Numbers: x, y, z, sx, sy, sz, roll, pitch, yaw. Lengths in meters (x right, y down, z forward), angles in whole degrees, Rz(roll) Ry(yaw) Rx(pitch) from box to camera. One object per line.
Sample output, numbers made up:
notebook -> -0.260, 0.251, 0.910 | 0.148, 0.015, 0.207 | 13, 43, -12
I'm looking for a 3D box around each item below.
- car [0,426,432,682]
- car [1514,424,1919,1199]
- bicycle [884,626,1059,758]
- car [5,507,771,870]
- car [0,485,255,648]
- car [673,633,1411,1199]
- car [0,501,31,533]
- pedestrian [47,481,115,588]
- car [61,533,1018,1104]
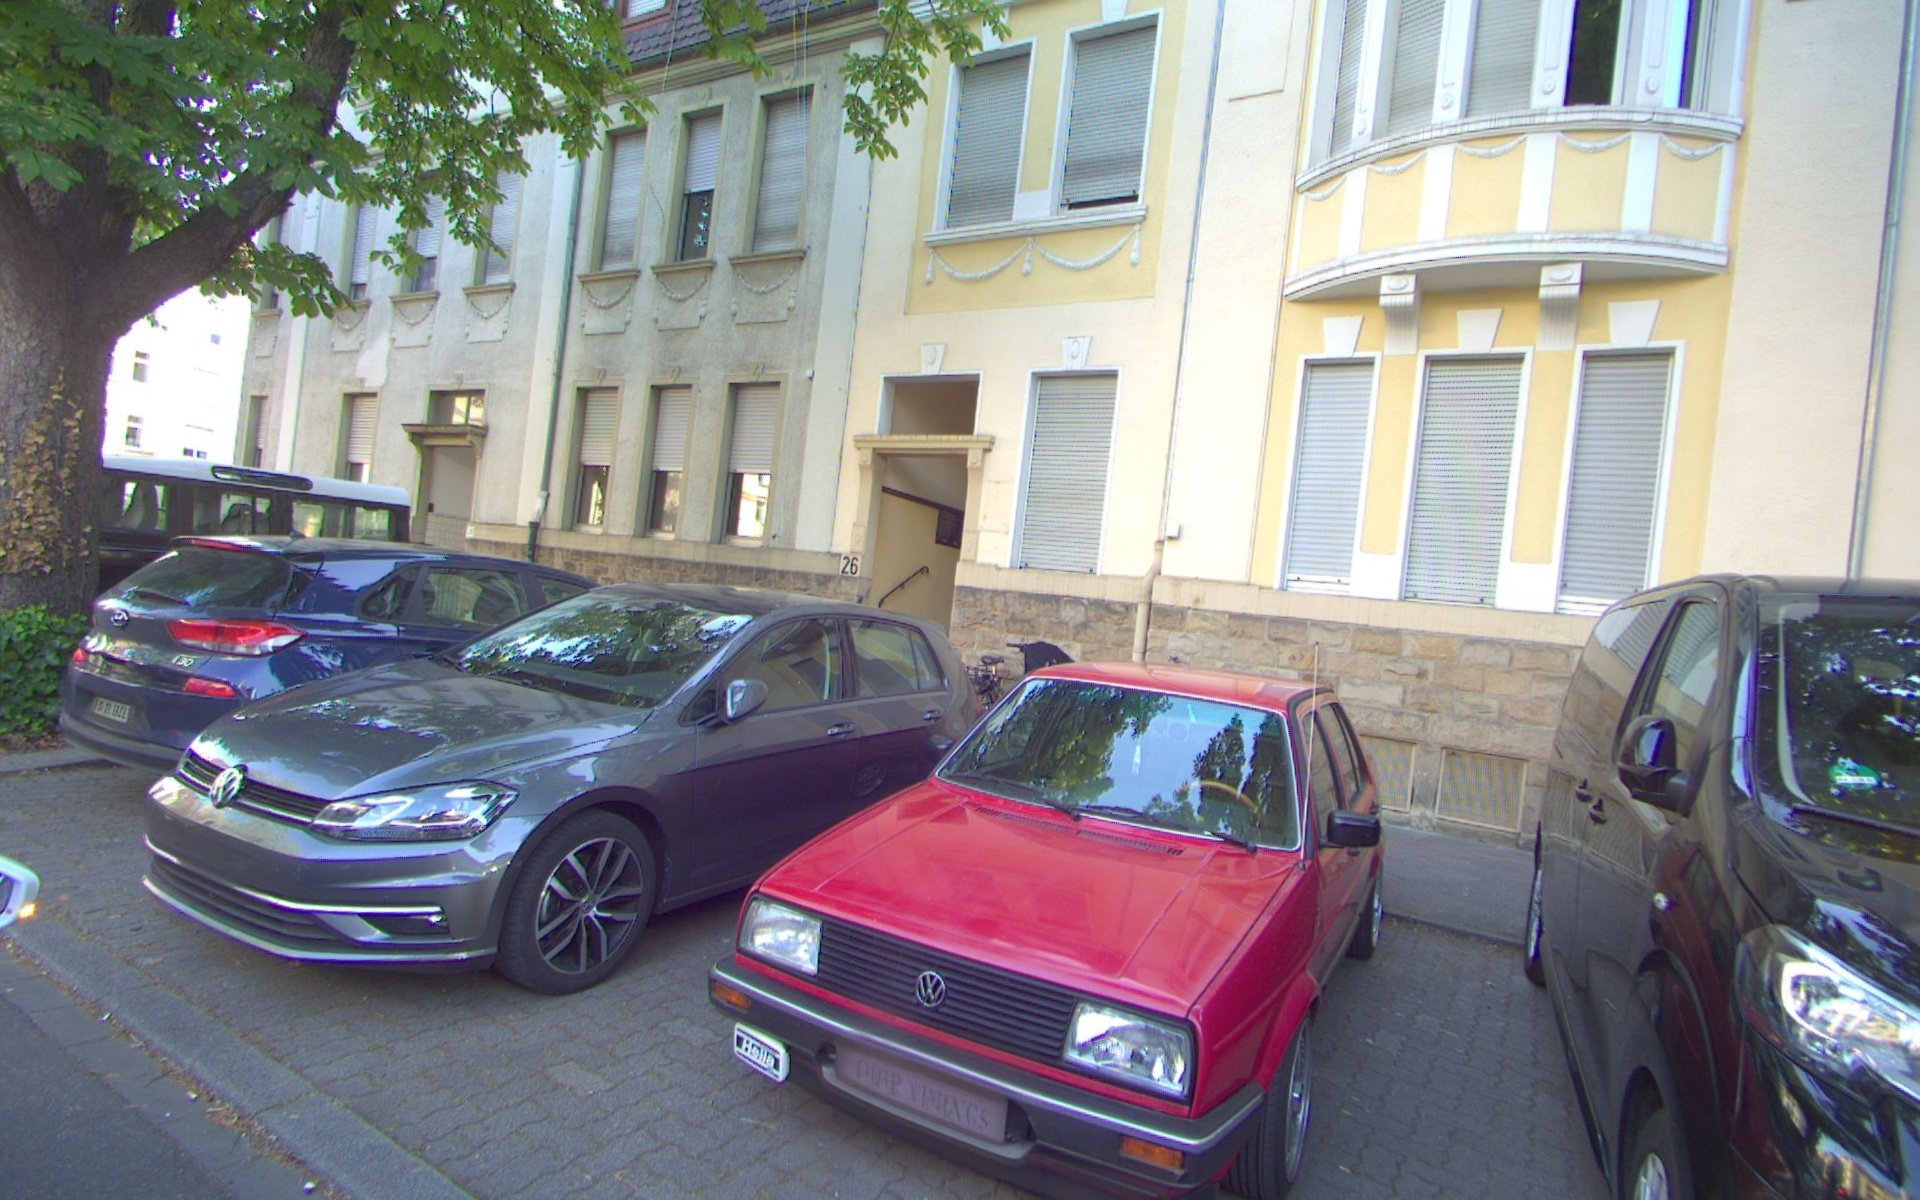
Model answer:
car -> -7.621, -0.380, 9.316 | 1.762, 1.981, 4.496 | 7, 1, 29
car -> 2.877, 0.897, 2.948 | 1.848, 1.847, 4.829 | 6, 0, 27
bicycle -> 0.096, 0.908, 10.324 | 1.675, 1.090, 0.500 | 7, 2, 32
car -> -3.046, 0.420, 6.189 | 1.600, 1.440, 3.754 | 6, 0, 29
car -> -10.031, -0.393, 10.874 | 1.680, 1.606, 3.488 | 7, 0, 26
car -> 0.831, 0.919, 4.223 | 1.532, 1.337, 3.916 | 6, 0, 29
car -> -36.660, -3.282, 36.989 | 1.357, 1.081, 3.370 | 7, -1, 30
pedestrian -> -16.199, -1.197, 18.547 | 0.565, 1.867, 0.633 | 7, 0, 28
car -> -1.370, 0.652, 4.835 | 1.600, 1.440, 4.054 | 6, 0, 29
